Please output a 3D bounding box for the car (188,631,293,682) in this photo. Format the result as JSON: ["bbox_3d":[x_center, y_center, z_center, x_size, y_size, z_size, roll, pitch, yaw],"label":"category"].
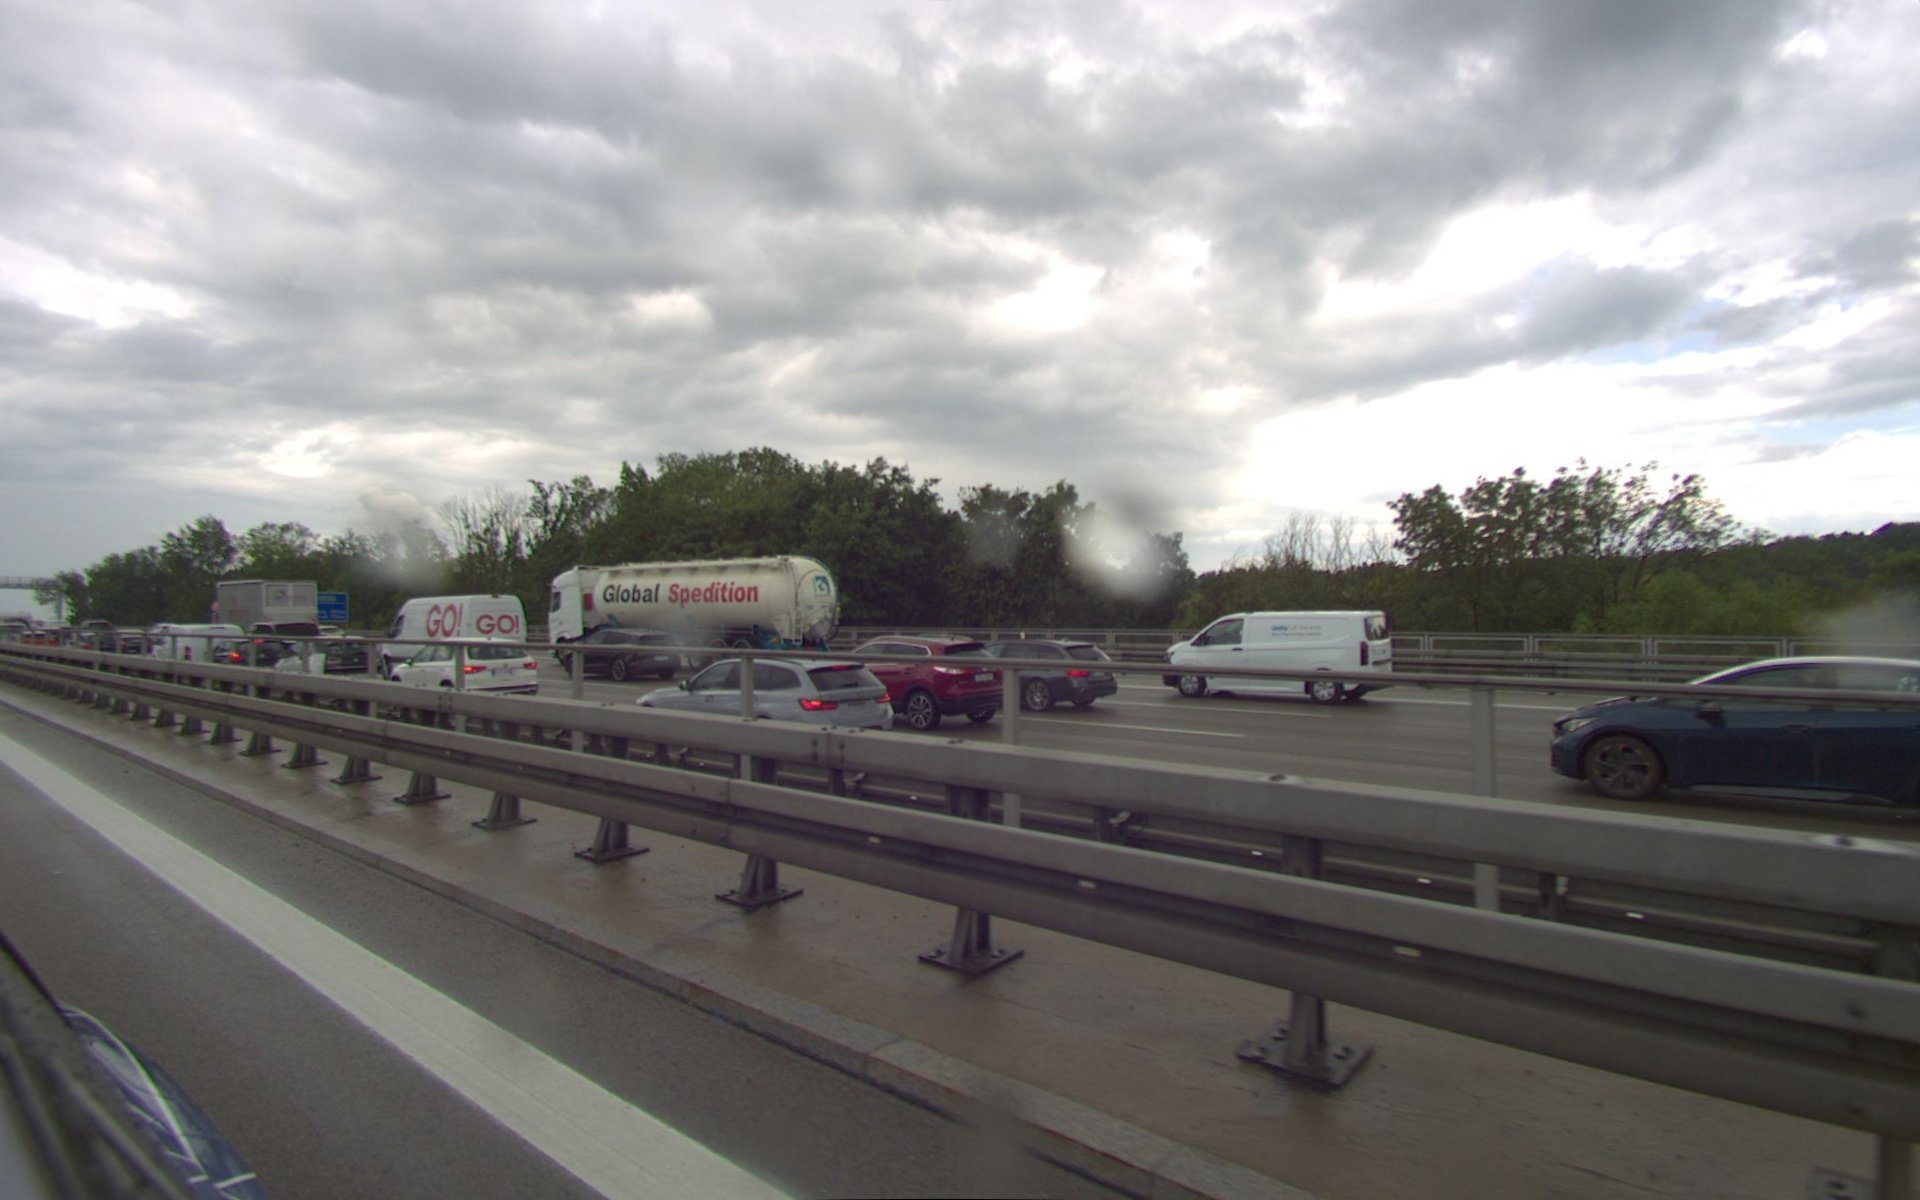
[{"bbox_3d":[-22.754,1.736,31.958,4.223,1.500,1.663,-1,-2,40],"label":"car"}]

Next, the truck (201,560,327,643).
[{"bbox_3d":[-39.536,0.217,57.274,10.861,4.325,3.224,-2,-2,41],"label":"truck"}]

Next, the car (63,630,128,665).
[{"bbox_3d":[-39.615,2.156,46.329,3.997,1.517,1.652,-2,-2,41],"label":"car"}]

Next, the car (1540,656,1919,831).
[{"bbox_3d":[8.685,1.371,10.304,4.573,1.486,1.813,-1,-2,40],"label":"car"}]

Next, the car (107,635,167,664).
[{"bbox_3d":[-47.649,2.833,58.565,4.418,1.628,1.907,-2,-2,41],"label":"car"}]

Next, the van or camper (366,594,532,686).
[{"bbox_3d":[-16.397,1.222,32.219,7.453,2.624,2.012,-1,-2,41],"label":"van or camper"}]

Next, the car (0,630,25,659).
[{"bbox_3d":[-62.952,2.891,66.450,4.031,1.856,1.803,-1,-2,40],"label":"car"}]

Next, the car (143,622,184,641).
[{"bbox_3d":[-67.328,2.659,85.557,3.997,1.524,1.999,-2,-2,41],"label":"car"}]

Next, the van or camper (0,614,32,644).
[{"bbox_3d":[-85.777,2.597,91.309,5.417,2.597,2.423,-2,-2,41],"label":"van or camper"}]

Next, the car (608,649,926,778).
[{"bbox_3d":[-3.025,1.544,15.170,5.066,1.526,1.933,-1,-2,40],"label":"car"}]

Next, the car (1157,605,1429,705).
[{"bbox_3d":[7.251,1.139,22.467,5.417,1.959,1.982,-1,-2,41],"label":"car"}]

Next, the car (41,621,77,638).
[{"bbox_3d":[-85.730,2.788,96.287,3.997,1.524,1.999,-2,-2,41],"label":"car"}]

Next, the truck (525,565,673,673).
[{"bbox_3d":[-14.527,0.779,40.482,6.978,3.995,2.436,-2,-2,41],"label":"truck"}]

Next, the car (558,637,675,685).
[{"bbox_3d":[-10.767,1.843,31.549,4.320,1.376,1.482,-2,-2,41],"label":"car"}]

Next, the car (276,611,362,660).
[{"bbox_3d":[-25.367,1.391,39.993,4.111,1.854,1.688,-1,-2,40],"label":"car"}]

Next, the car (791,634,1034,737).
[{"bbox_3d":[-0.956,1.460,18.611,4.415,1.660,1.813,-1,-2,40],"label":"car"}]

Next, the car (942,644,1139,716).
[{"bbox_3d":[1.603,1.608,21.088,3.997,1.277,1.482,-1,-2,41],"label":"car"}]

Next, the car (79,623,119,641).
[{"bbox_3d":[-73.886,2.713,86.819,3.997,1.524,1.999,-1,-2,41],"label":"car"}]

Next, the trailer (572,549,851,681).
[{"bbox_3d":[-9.307,0.606,35.983,13.211,3.988,2.436,-2,-2,41],"label":"trailer"}]

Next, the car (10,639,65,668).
[{"bbox_3d":[-51.568,2.959,56.542,4.031,1.484,1.735,-1,-2,40],"label":"car"}]

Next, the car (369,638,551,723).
[{"bbox_3d":[-11.119,1.681,22.351,4.923,1.640,1.772,-1,-2,40],"label":"car"}]

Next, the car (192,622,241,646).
[{"bbox_3d":[-55.143,2.511,75.022,4.328,1.714,1.999,-2,-2,41],"label":"car"}]

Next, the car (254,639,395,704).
[{"bbox_3d":[-16.676,1.795,26.467,4.599,1.522,1.772,-1,-2,40],"label":"car"}]

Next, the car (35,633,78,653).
[{"bbox_3d":[-71.213,3.400,79.762,3.997,1.524,1.999,-2,-2,41],"label":"car"}]

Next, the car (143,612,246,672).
[{"bbox_3d":[-27.461,1.472,36.245,5.033,2.001,1.835,-1,-2,40],"label":"car"}]
